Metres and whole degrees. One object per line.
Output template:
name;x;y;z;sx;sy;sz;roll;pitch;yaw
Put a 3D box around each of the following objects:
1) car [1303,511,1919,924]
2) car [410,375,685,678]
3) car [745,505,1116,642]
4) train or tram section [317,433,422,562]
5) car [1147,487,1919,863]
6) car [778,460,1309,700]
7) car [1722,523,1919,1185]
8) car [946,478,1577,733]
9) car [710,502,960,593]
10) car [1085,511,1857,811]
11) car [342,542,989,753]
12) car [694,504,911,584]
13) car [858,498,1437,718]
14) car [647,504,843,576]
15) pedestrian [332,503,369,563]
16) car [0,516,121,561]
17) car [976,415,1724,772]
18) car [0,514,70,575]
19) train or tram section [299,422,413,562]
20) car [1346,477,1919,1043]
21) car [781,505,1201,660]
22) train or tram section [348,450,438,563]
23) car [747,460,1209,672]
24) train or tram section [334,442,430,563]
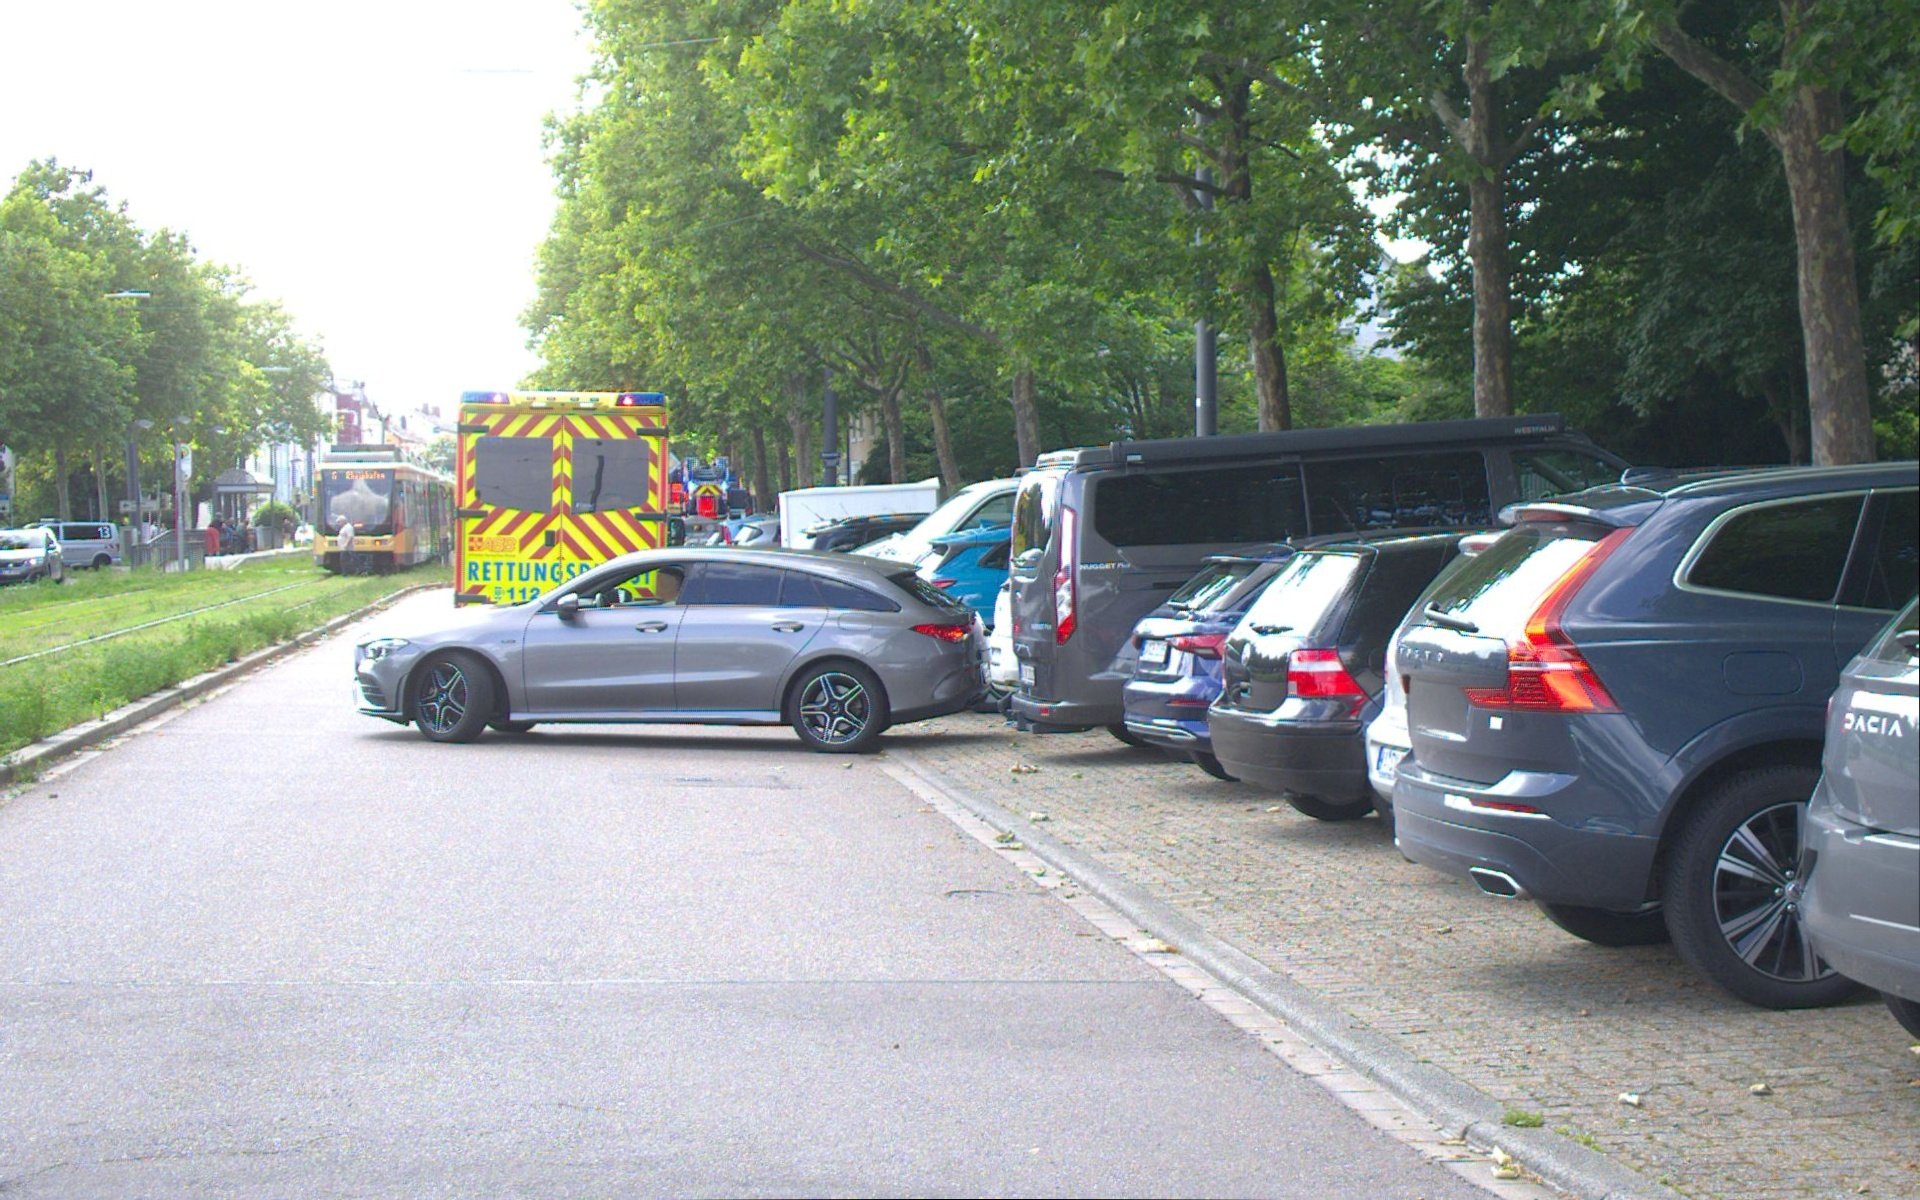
car;3.564;0.400;14.127;3.965;1.489;1.756;-2;1;-7
car;-4.416;-0.794;37.707;2.641;2.956;6.301;2;1;-5
car;-0.409;-0.364;44.781;4.544;1.603;1.856;-2;1;-10
train or tram section;-17.221;-2.931;100.618;2.511;3.572;7.447;-2;1;-7
car;3.101;0.295;16.810;3.964;1.600;1.757;-2;1;-17
car;0.731;-0.212;31.601;4.544;1.994;1.856;-2;1;-10
car;4.324;0.513;8.567;4.380;1.496;1.756;-2;2;-4
car;2.282;0.010;26.669;4.545;1.760;1.856;-2;1;-7
car;-2.428;-1.023;66.244;4.544;1.603;1.856;-2;1;-10
car;2.824;0.305;19.476;3.965;1.489;1.756;-2;1;-7
car;-2.084;0.318;25.095;4.454;1.381;1.766;1;1;5
car;-3.490;-1.248;76.037;4.544;1.603;1.856;-2;1;-10
car;1.548;0.031;29.140;4.544;1.654;1.856;-2;1;-11
car;-5.274;-1.475;84.129;4.544;1.603;1.856;-2;1;-10
pedestrian;-15.717;-1.719;88.662;0.880;1.520;0.751;1;0;-7
car;-34.799;-2.372;132.143;1.882;1.627;4.616;1;2;45
car;2.505;-0.077;22.699;4.545;2.116;1.856;-2;1;-7
car;-25.489;-1.512;93.341;1.993;1.552;4.371;-2;2;-7
train or tram section;-16.328;-2.856;93.237;2.511;3.572;7.447;-2;1;-7
car;3.611;0.404;11.203;4.380;1.634;1.756;-2;1;-4
car;0.327;-0.222;39.673;4.544;1.603;1.856;-2;1;-10
train or tram section;-18.987;-3.081;115.405;2.511;3.572;7.447;-2;1;-7
car;0.160;-0.380;36.159;4.544;2.036;1.856;-2;1;-10
train or tram section;-18.108;-3.006;108.012;2.511;3.572;7.447;-2;1;-7
